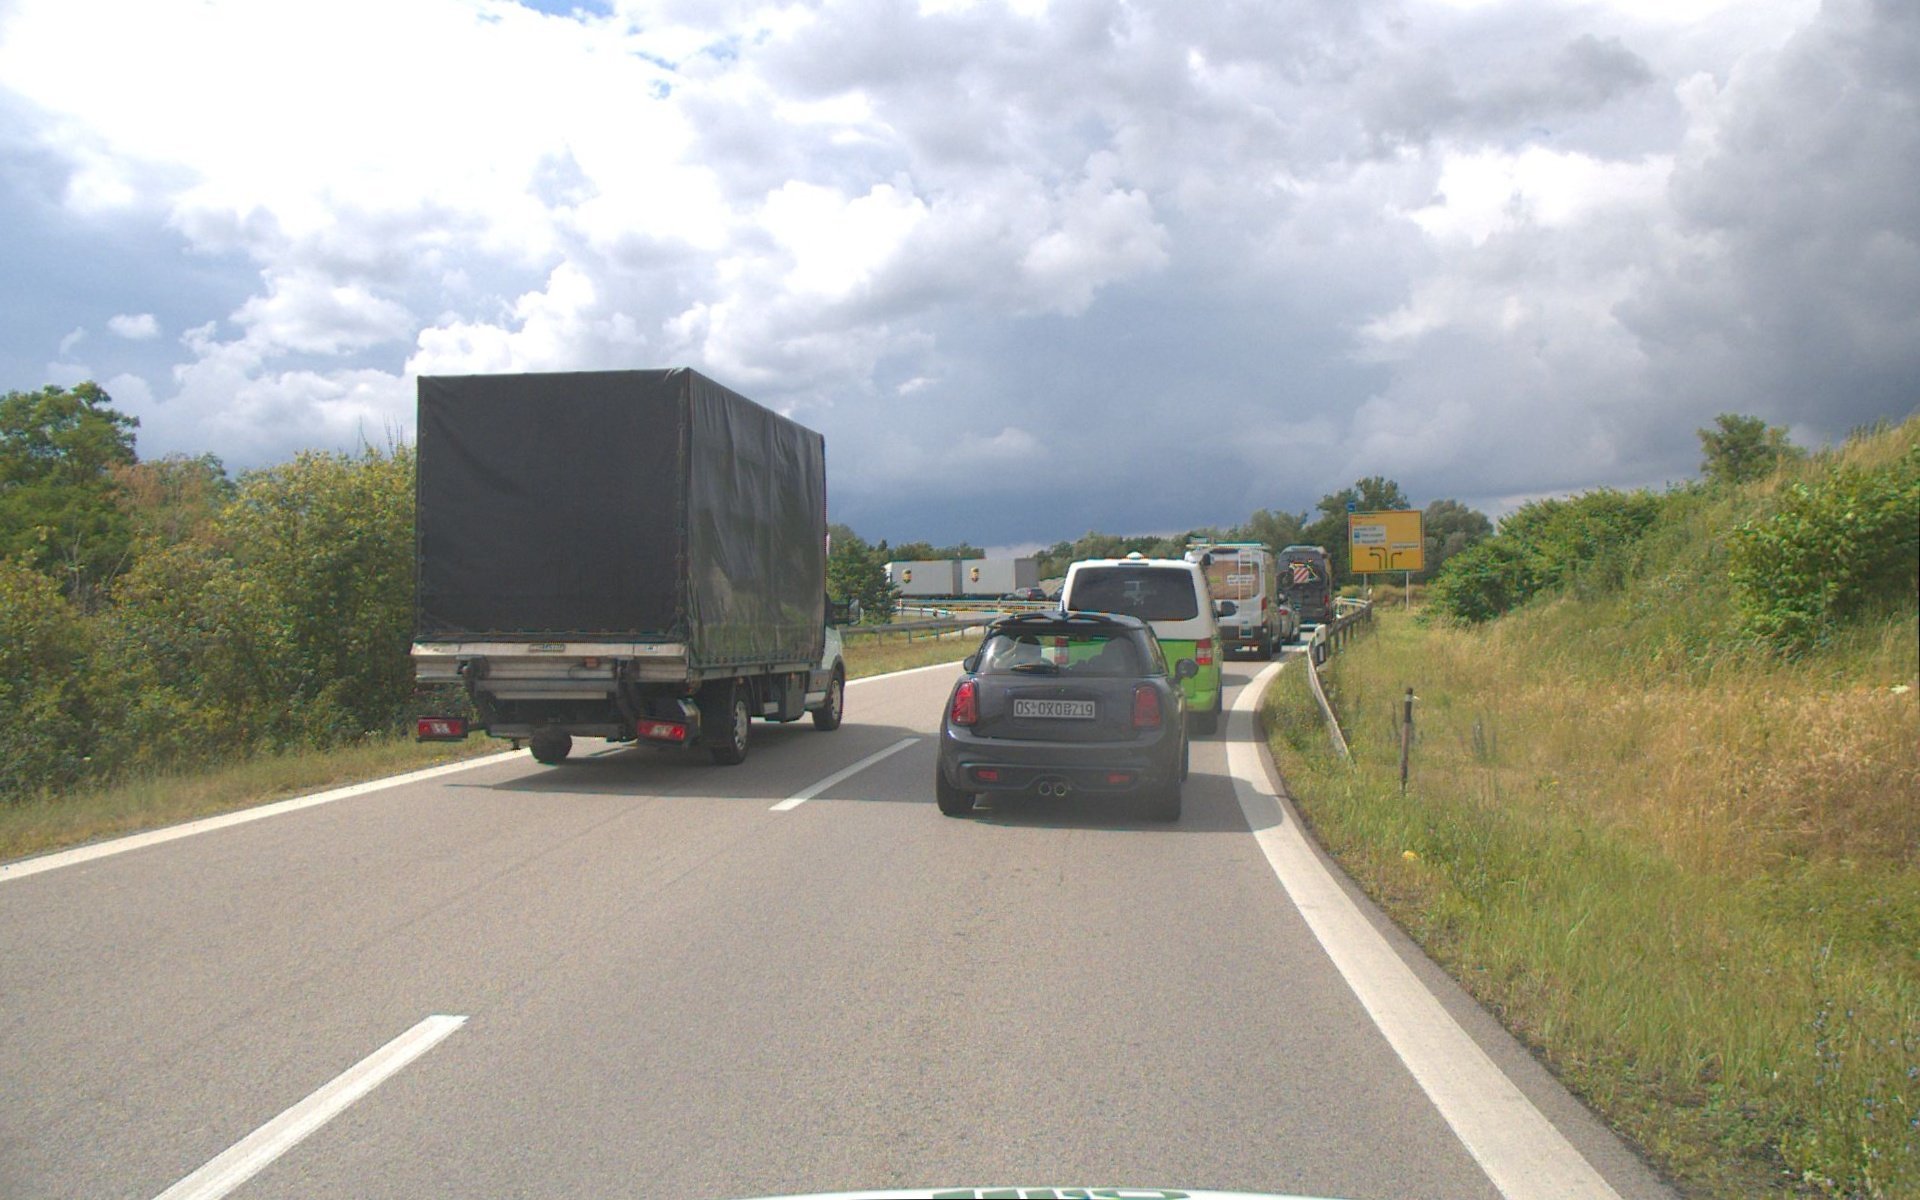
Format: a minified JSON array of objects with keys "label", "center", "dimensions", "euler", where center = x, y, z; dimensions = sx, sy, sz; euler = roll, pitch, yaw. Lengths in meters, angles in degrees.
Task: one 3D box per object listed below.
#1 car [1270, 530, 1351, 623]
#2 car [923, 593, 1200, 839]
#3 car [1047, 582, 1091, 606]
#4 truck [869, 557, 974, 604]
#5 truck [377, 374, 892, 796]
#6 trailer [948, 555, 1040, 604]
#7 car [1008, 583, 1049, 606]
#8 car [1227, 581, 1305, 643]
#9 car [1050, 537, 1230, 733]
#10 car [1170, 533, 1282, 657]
[{"label":"car","center":[12.640,-0.757,59.348],"dimensions":[2.262,3.122,6.665],"euler":[1,-1,17]},{"label":"car","center":[0.918,0.745,12.658],"dimensions":[1.761,1.573,3.741],"euler":[0,0,9]},{"label":"car","center":[8.728,-0.445,132.751],"dimensions":[1.894,1.870,4.289],"euler":[1,-1,-22]},{"label":"truck","center":[-3.466,-1.700,145.693],"dimensions":[9.845,4.046,2.830],"euler":[0,-1,41]},{"label":"truck","center":[-2.707,-0.092,16.538],"dimensions":[2.505,3.223,7.474],"euler":[1,-1,10]},{"label":"trailer","center":[2.804,-1.683,139.109],"dimensions":[3.014,3.966,8.656],"euler":[2,-1,-37]},{"label":"car","center":[5.416,-0.424,131.020],"dimensions":[1.787,1.786,3.974],"euler":[1,-1,-21]},{"label":"car","center":[8.793,0.361,47.311],"dimensions":[1.951,1.671,3.931],"euler":[1,-1,14]},{"label":"car","center":[2.256,0.378,19.818],"dimensions":[1.870,2.081,4.184],"euler":[0,0,10]},{"label":"car","center":[6.352,-0.082,38.950],"dimensions":[2.164,2.668,5.538],"euler":[1,-1,14]}]
